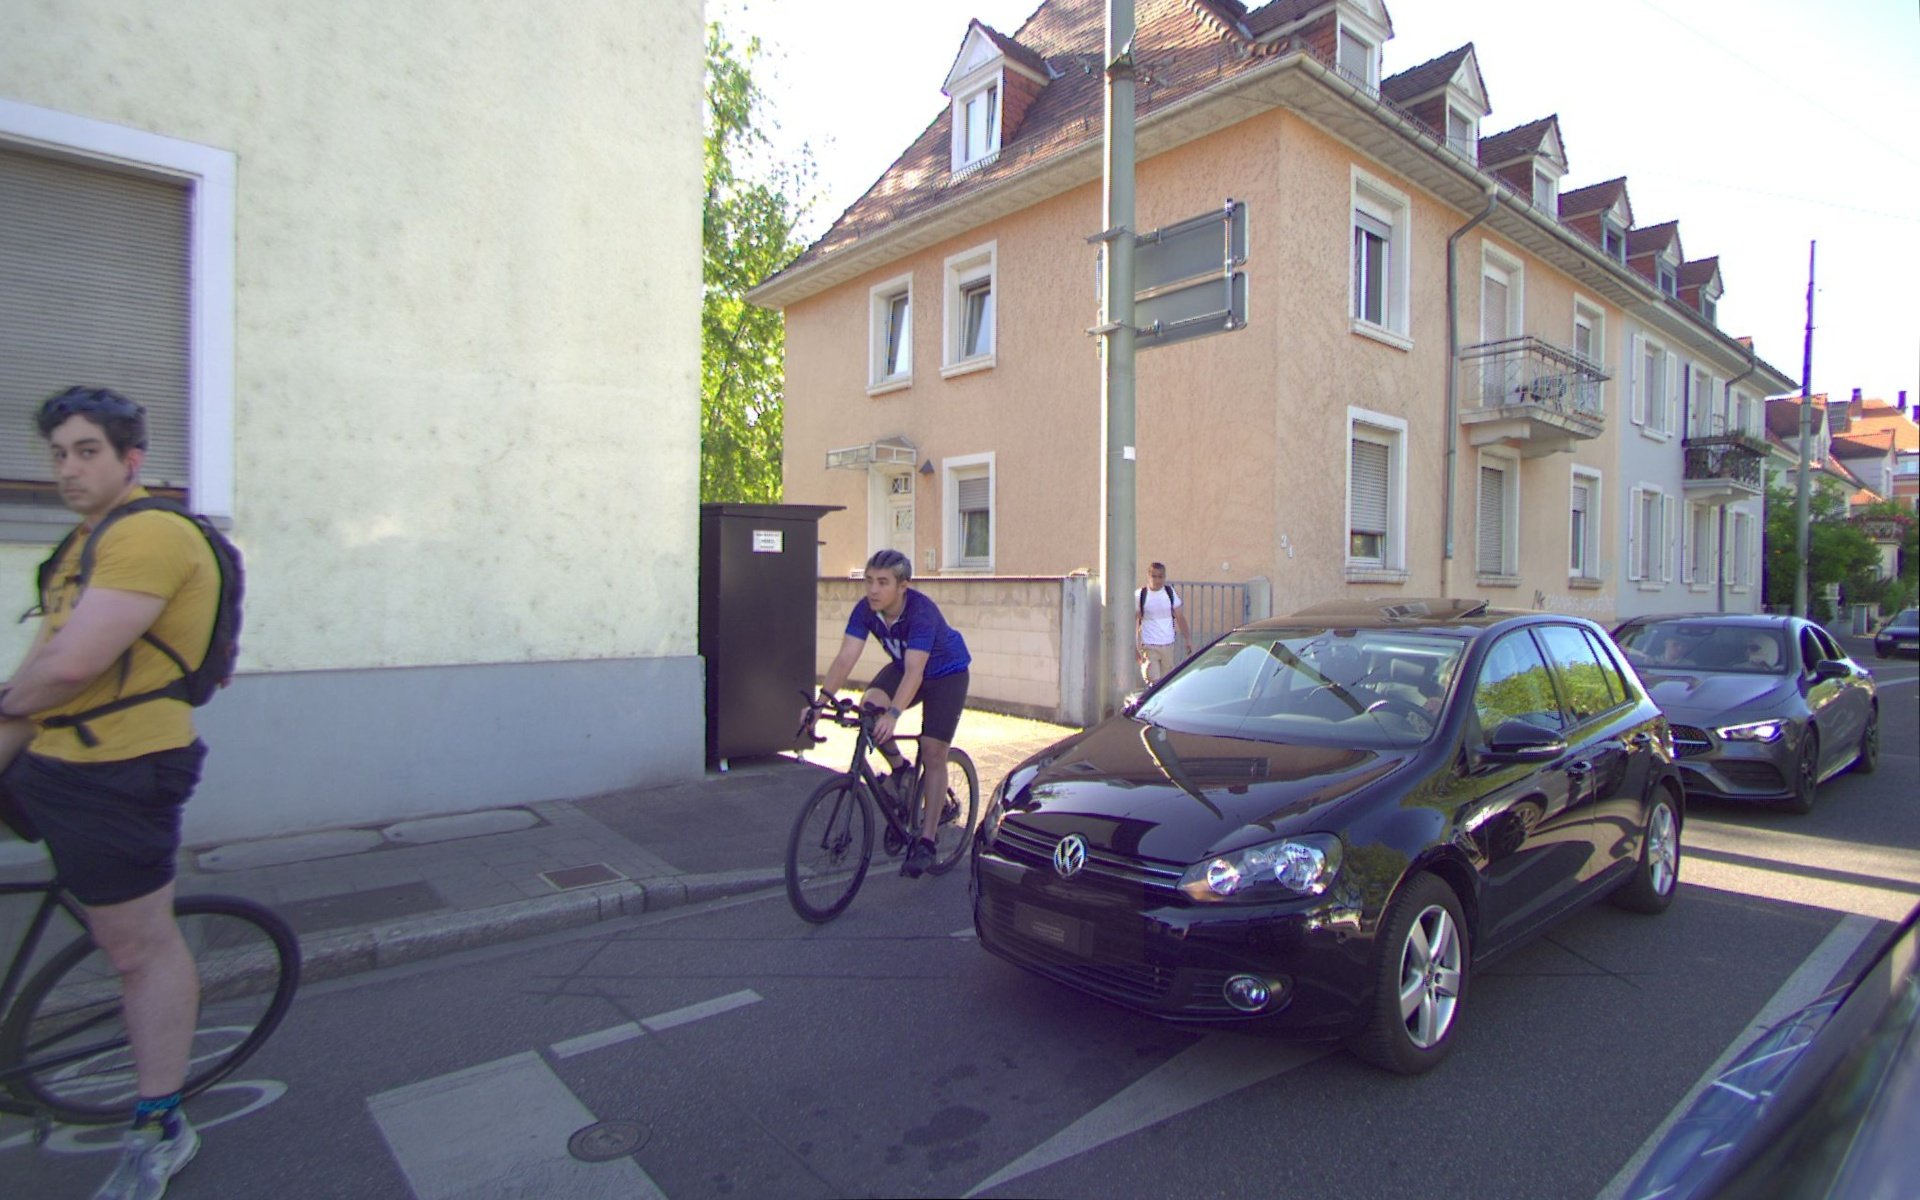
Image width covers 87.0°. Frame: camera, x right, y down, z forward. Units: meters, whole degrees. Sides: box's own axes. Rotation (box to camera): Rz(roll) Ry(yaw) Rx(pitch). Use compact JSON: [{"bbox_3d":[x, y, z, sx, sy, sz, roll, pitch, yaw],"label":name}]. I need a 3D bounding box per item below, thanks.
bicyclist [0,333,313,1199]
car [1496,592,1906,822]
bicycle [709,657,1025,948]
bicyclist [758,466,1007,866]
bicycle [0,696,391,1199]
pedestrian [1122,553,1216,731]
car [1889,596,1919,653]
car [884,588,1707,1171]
[{"bbox_3d":[-2.214,0.430,2.532,0.777,1.991,0.768,0,0,36],"label":"bicyclist"},{"bbox_3d":[6.412,0.699,8.552,4.410,1.449,1.824,1,0,-40],"label":"car"},{"bbox_3d":[-0.391,0.879,4.957,0.554,1.089,1.601,0,1,42],"label":"bicycle"},{"bbox_3d":[-0.389,0.275,4.953,1.017,1.716,0.718,0,0,42],"label":"bicyclist"},{"bbox_3d":[-2.427,0.879,2.396,0.777,1.120,1.720,0,0,36],"label":"bicycle"},{"bbox_3d":[2.039,0.389,9.956,0.599,1.624,0.762,3,5,-4],"label":"pedestrian"},{"bbox_3d":[26.762,0.621,27.437,4.258,1.448,1.824,-1,0,-40],"label":"car"},{"bbox_3d":[1.745,0.683,4.489,3.921,1.456,1.716,-1,0,-41],"label":"car"}]
